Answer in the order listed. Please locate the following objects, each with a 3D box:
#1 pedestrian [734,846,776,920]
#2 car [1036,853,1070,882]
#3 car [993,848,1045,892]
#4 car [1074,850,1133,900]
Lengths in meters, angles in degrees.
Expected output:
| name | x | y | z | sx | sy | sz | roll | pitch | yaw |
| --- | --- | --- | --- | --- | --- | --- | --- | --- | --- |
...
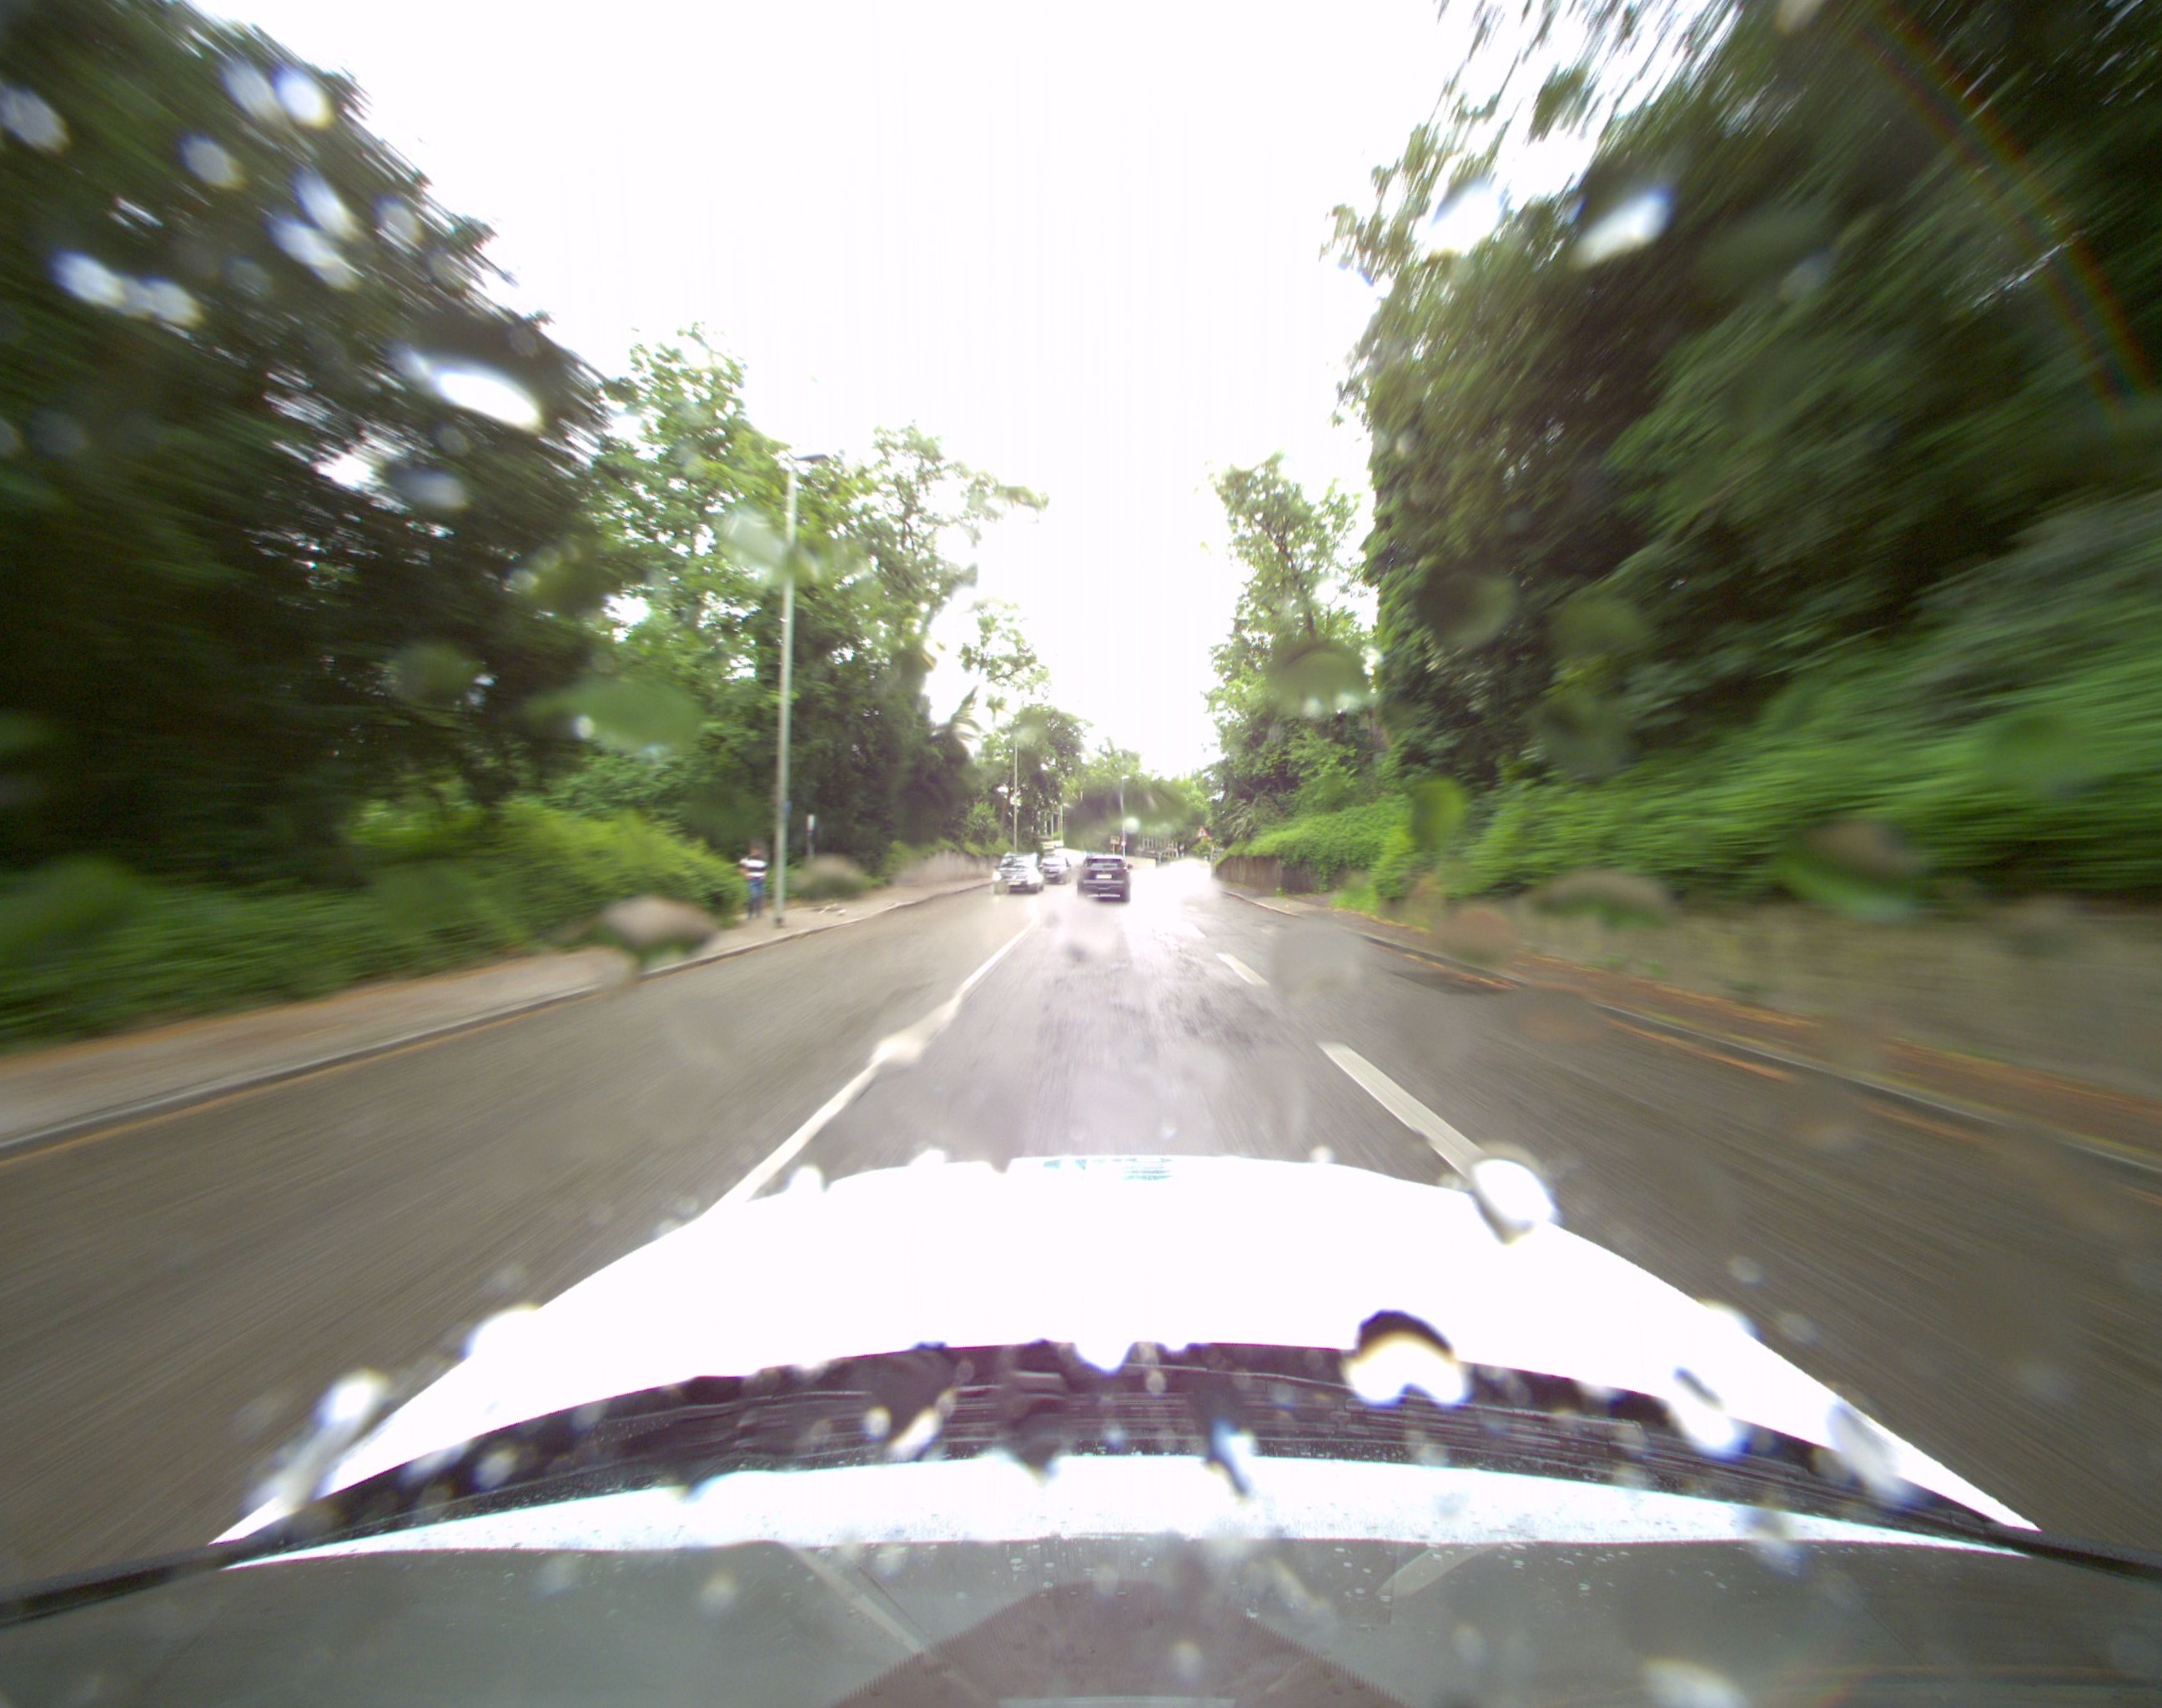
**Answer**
| name | x | y | z | sx | sy | sz | roll | pitch | yaw |
| --- | --- | --- | --- | --- | --- | --- | --- | --- | --- |
| pedestrian | -7.415 | 0.641 | 18.509 | 0.711 | 1.644 | 0.706 | -1 | 0 | -35 |
| car | -1.491 | 0.714 | 44.337 | 1.669 | 1.496 | 3.461 | -1 | 0 | 1 |
| car | -2.511 | 0.618 | 34.044 | 1.824 | 1.711 | 4.000 | -1 | 0 | 0 |
| car | 0.803 | 0.695 | 29.054 | 1.921 | 1.613 | 4.001 | -1 | 0 | 2 |
